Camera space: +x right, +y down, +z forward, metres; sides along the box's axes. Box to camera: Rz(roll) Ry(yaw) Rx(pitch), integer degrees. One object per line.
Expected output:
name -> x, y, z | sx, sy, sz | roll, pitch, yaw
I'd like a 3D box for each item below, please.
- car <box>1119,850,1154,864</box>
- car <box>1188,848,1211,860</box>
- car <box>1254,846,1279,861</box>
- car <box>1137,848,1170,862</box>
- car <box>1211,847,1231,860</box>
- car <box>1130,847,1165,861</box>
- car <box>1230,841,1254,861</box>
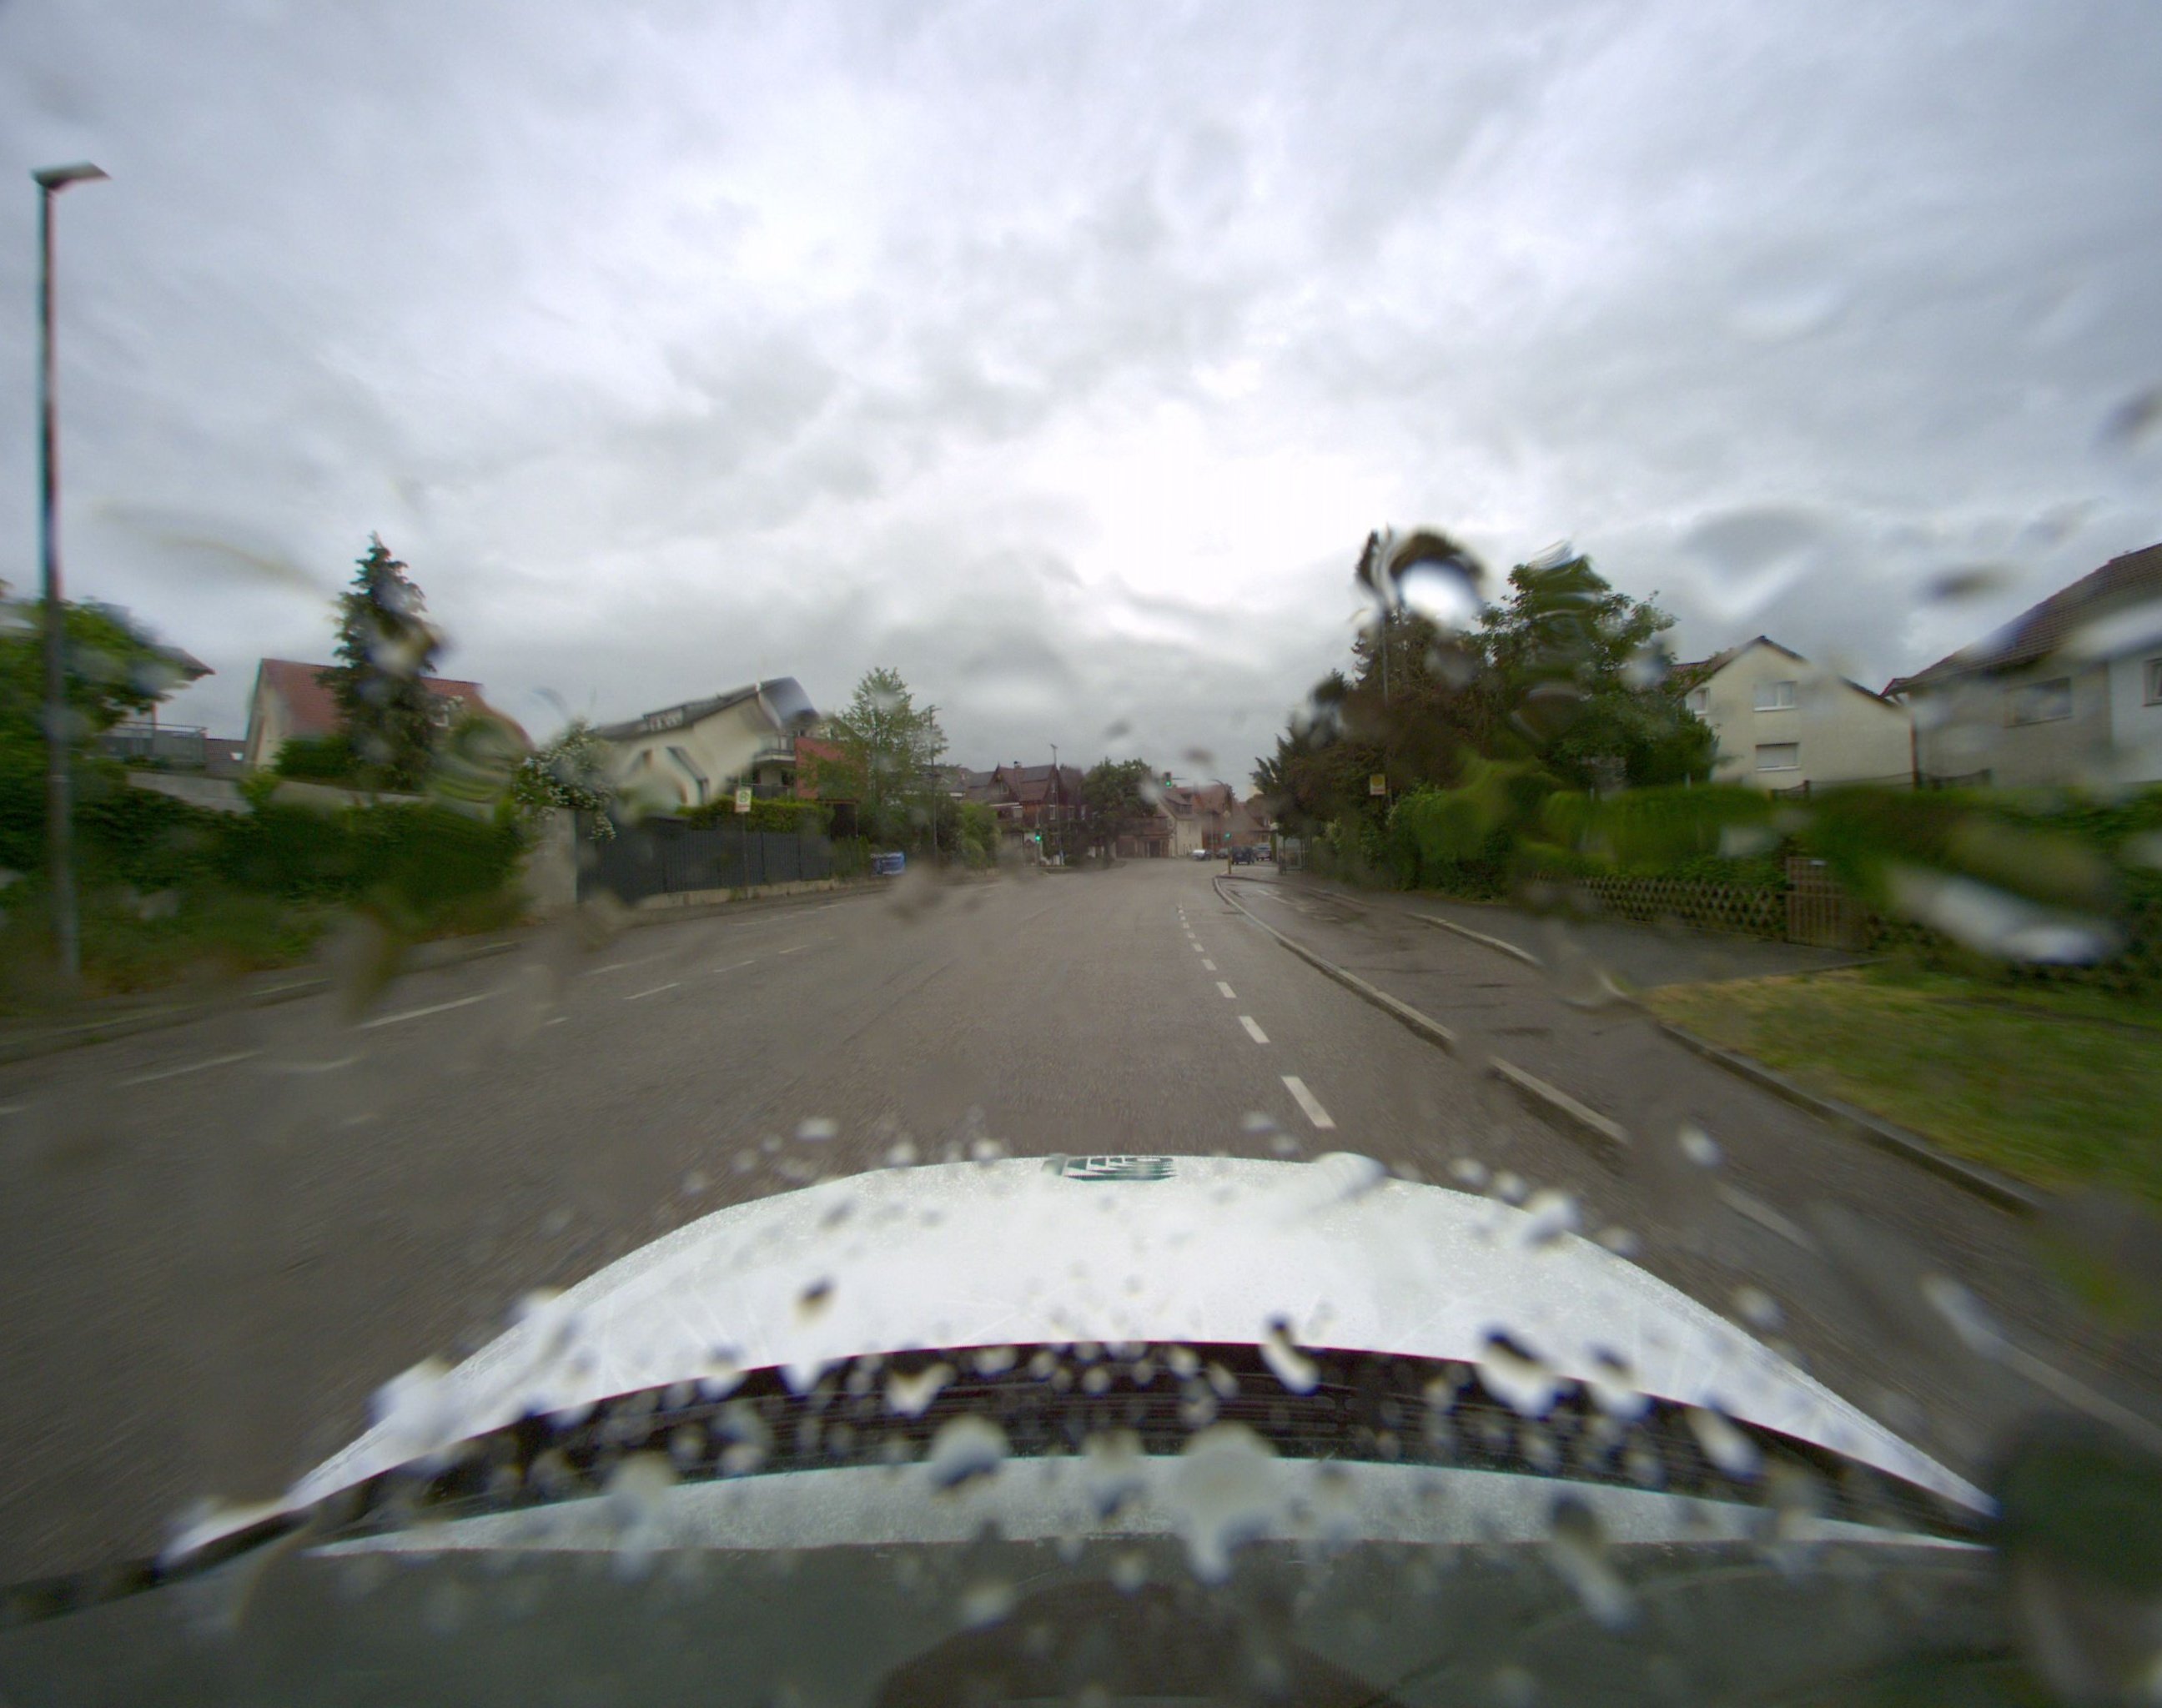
car -> 6.171, 0.317, 90.531 | 3.413, 1.418, 1.642 | -2, 0, 28
car -> 14.247, 0.004, 97.757 | 1.612, 1.355, 4.134 | 0, 1, 25
car -> 21.987, -0.037, 96.342 | 1.891, 1.717, 4.583 | 0, 1, 26
car -> 8.480, 0.160, 95.099 | 3.428, 1.479, 1.600 | -2, 0, 28
car -> 18.525, -0.047, 107.499 | 1.590, 1.617, 3.296 | -2, 0, 27
car -> 7.556, -0.027, 92.882 | 3.542, 1.506, 1.867 | 1, 1, 30
car -> 16.273, -0.322, 81.999 | 1.916, 1.902, 4.814 | 0, 0, 16
